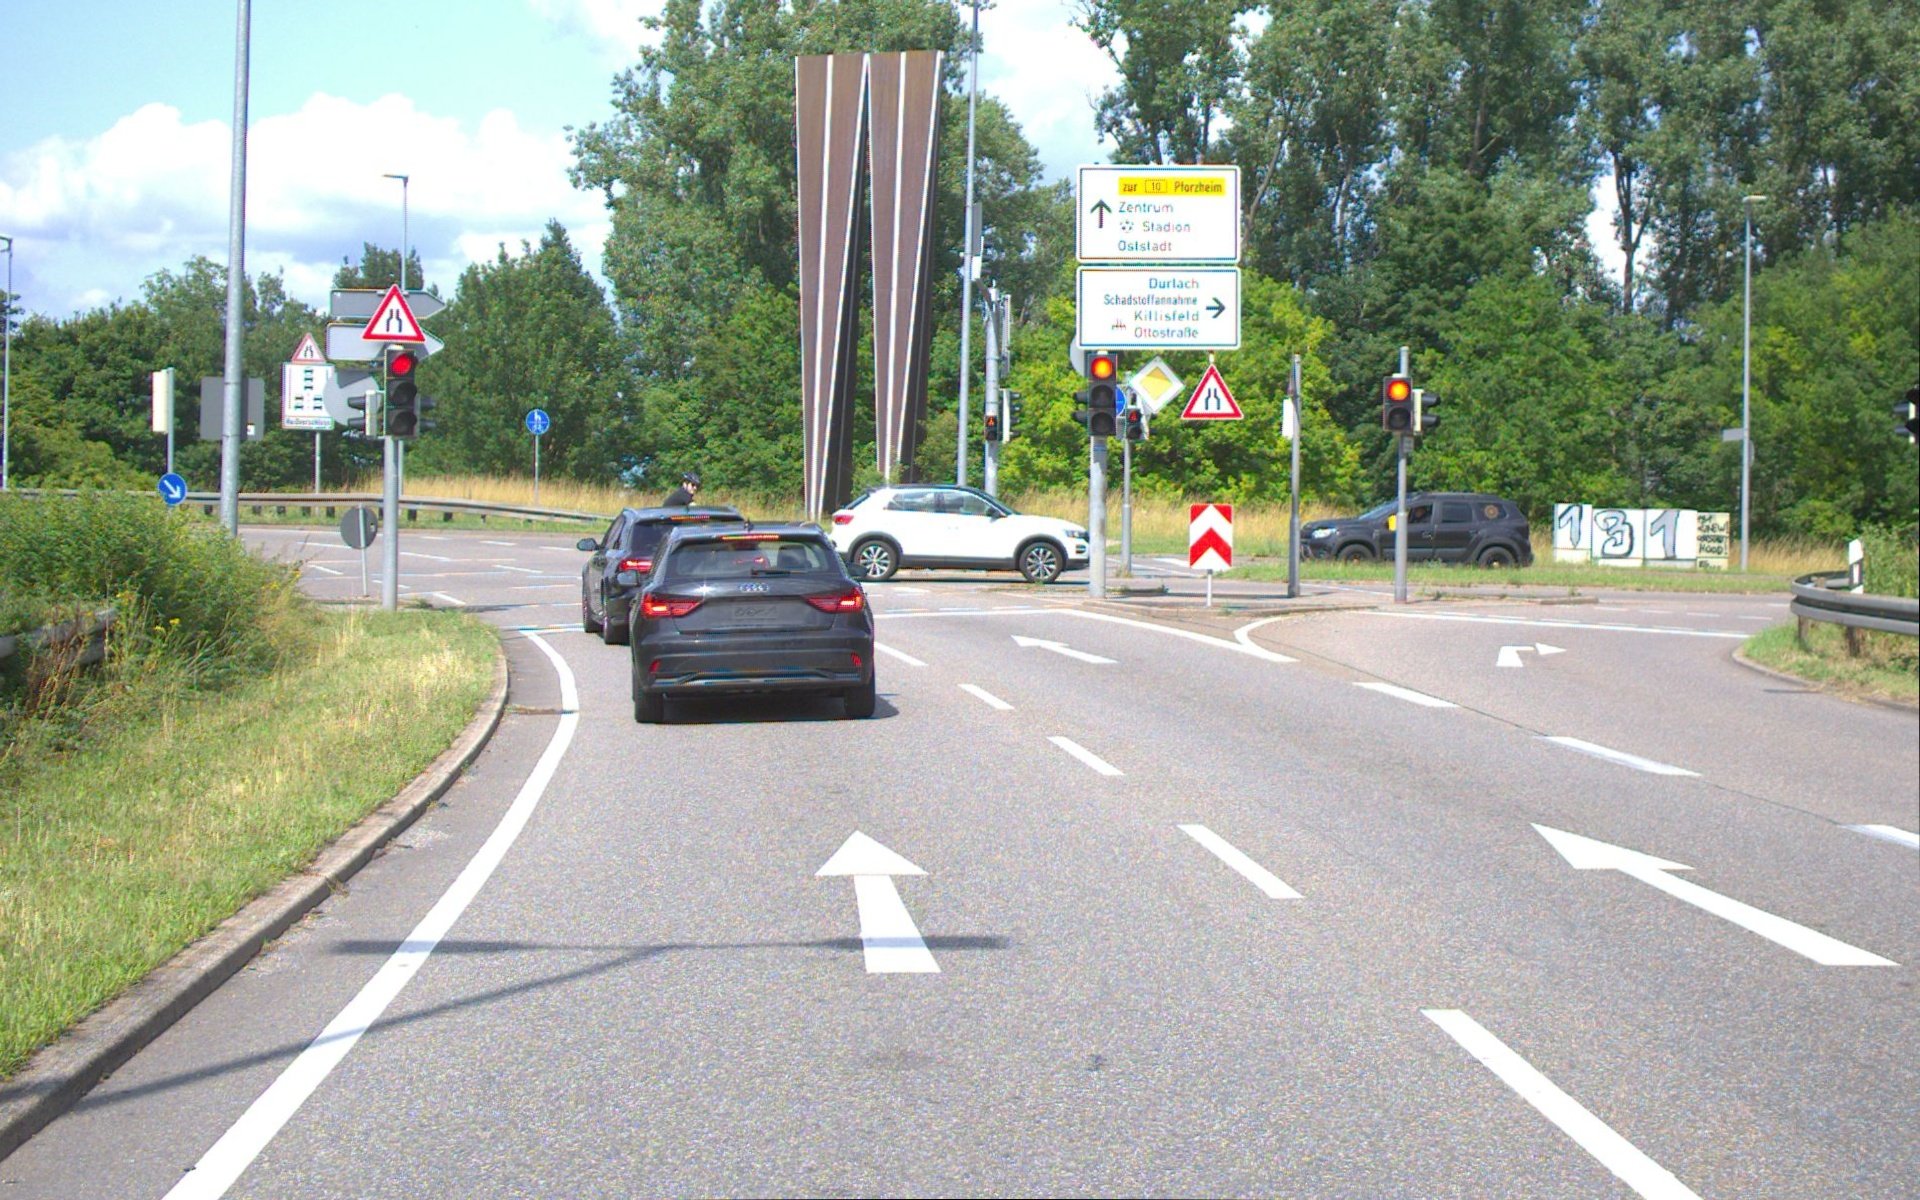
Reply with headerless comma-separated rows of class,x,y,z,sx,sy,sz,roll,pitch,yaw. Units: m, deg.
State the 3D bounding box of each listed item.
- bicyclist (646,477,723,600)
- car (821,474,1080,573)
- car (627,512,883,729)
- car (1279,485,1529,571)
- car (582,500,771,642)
bicyclist,-3.521,-0.790,43.907,0.834,1.555,0.672,0,1,-17
car,-0.118,-1.217,54.663,4.033,1.471,1.737,1,1,2
car,-1.574,0.091,25.716,1.726,1.399,4.001,-2,2,-5
car,8.167,-1.333,63.432,4.267,1.539,1.737,0,2,-6
car,-3.174,-0.364,37.878,1.726,1.418,3.846,-2,2,-9
